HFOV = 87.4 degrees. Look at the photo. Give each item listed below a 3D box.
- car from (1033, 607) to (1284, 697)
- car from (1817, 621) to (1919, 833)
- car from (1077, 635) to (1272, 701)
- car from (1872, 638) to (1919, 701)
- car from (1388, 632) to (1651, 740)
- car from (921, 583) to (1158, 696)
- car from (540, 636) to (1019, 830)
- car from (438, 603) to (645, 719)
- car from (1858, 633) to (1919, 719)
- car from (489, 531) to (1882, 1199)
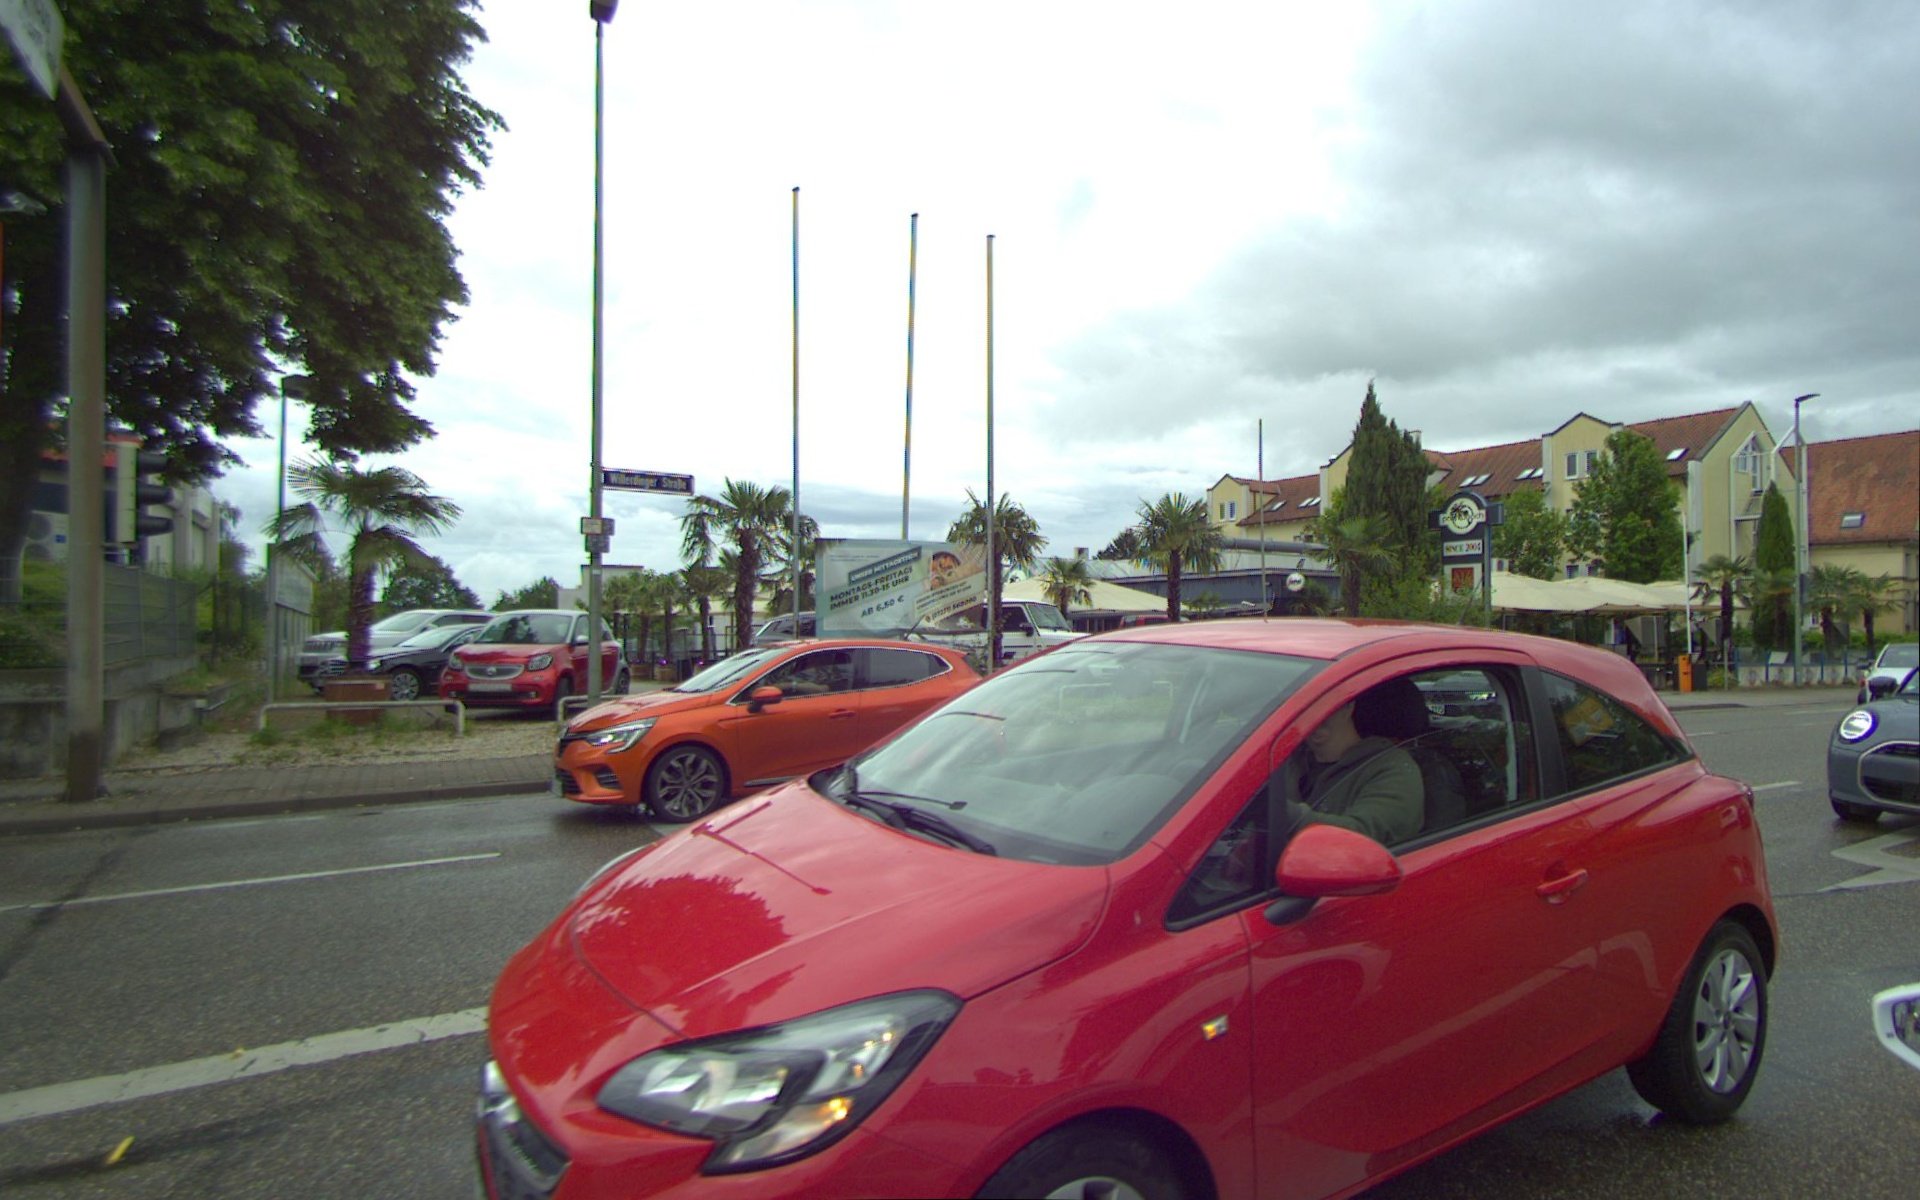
[{"bbox_3d":[4.198,1.173,21.592,4.928,1.724,1.996,-3,-5,33],"label":"car"},{"bbox_3d":[8.466,0.912,7.815,3.903,1.460,1.594,1,0,-31],"label":"car"},{"bbox_3d":[5.245,1.692,24.793,4.297,1.482,1.994,-3,-6,36],"label":"car"},{"bbox_3d":[25.547,1.799,26.121,3.926,1.553,1.629,2,-4,-31],"label":"car"},{"bbox_3d":[8.603,1.234,15.335,4.356,1.418,1.593,1,-3,-32],"label":"car"},{"bbox_3d":[1.560,0.835,20.227,4.325,2.040,1.995,-3,-3,32],"label":"car"},{"bbox_3d":[-1.536,1.024,8.938,3.901,1.349,1.615,0,-2,-31],"label":"car"},{"bbox_3d":[-6.133,0.895,15.175,1.633,1.523,3.619,1,-2,-1],"label":"car"},{"bbox_3d":[18.370,1.408,19.029,4.015,1.497,1.622,3,-3,-42],"label":"car"},{"bbox_3d":[0.926,0.693,3.034,4.097,1.453,1.624,2,0,-31],"label":"car"}]
